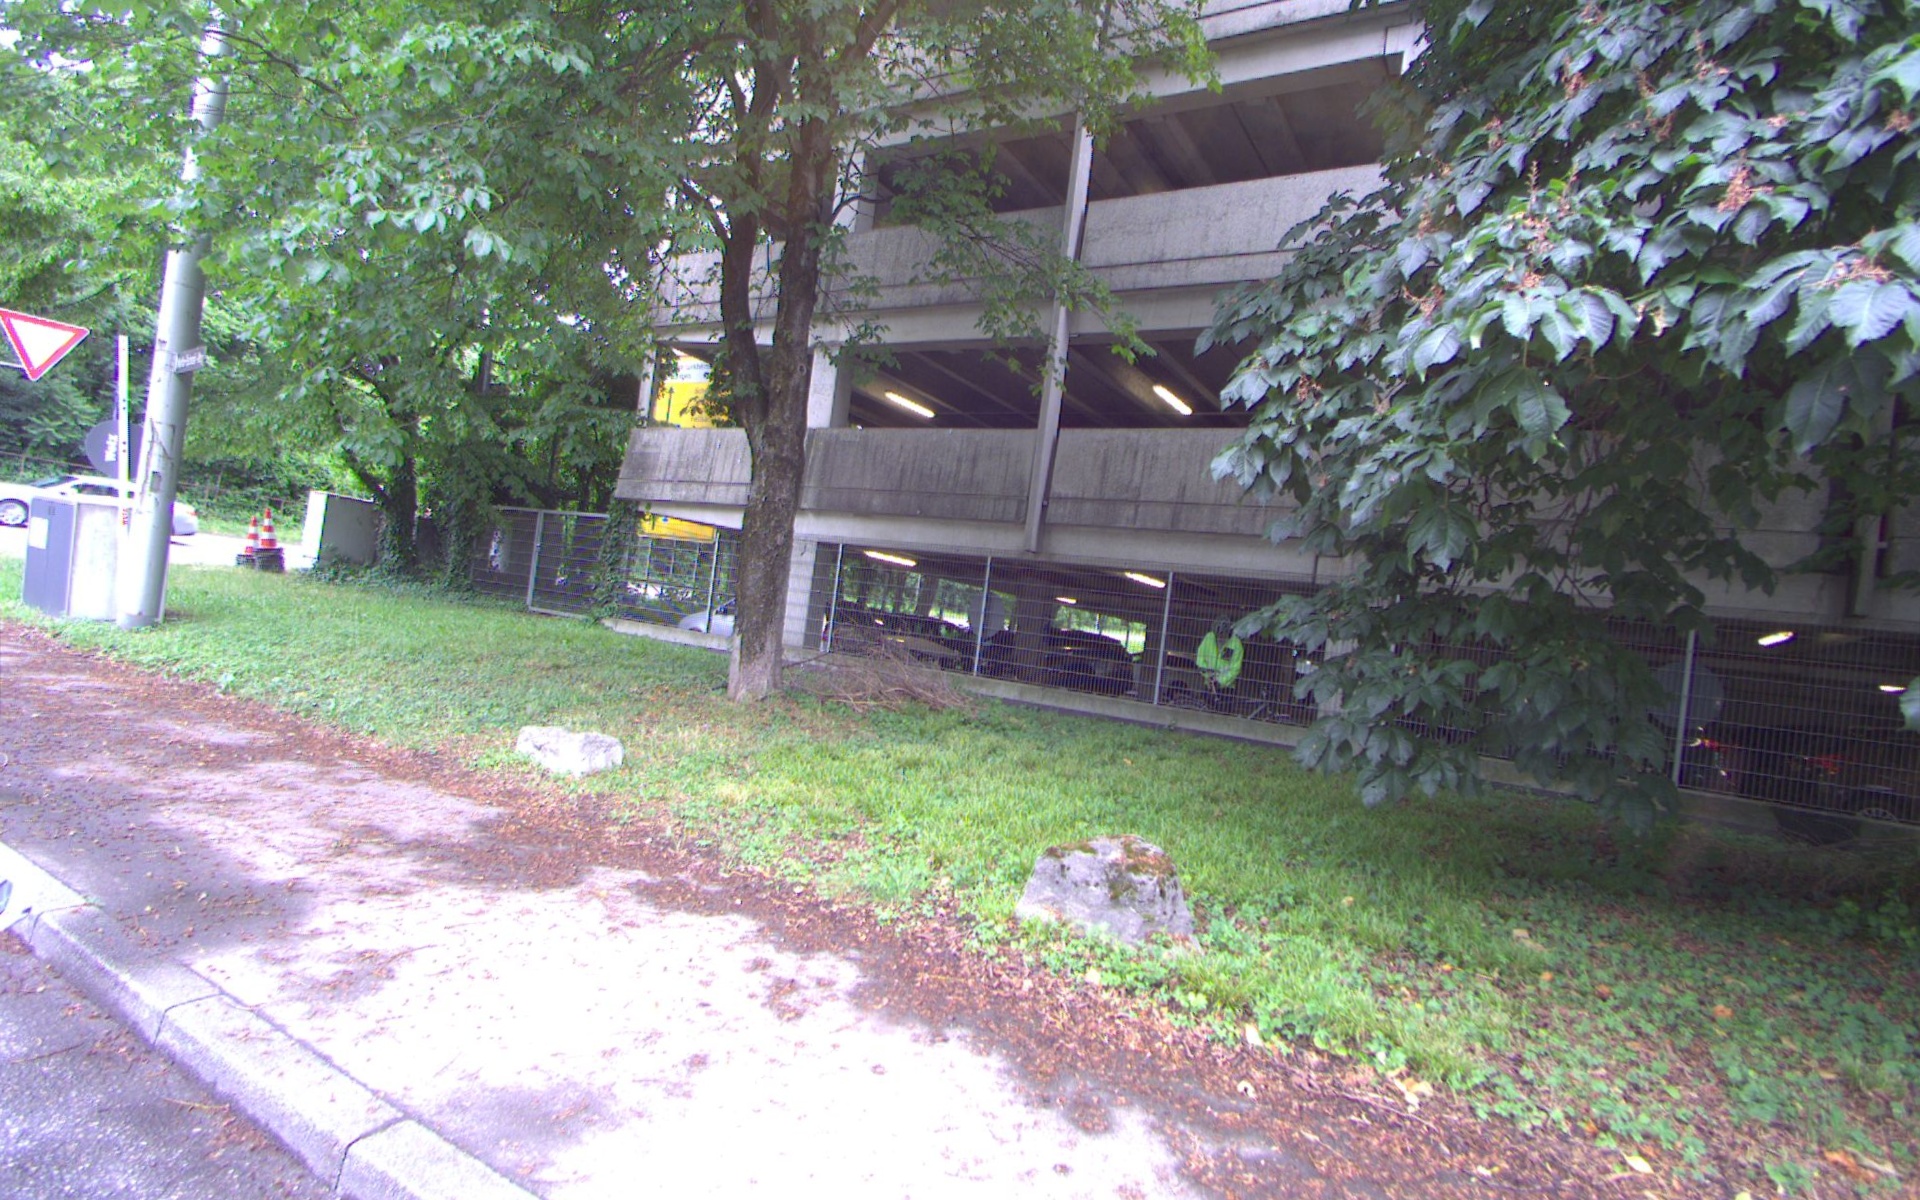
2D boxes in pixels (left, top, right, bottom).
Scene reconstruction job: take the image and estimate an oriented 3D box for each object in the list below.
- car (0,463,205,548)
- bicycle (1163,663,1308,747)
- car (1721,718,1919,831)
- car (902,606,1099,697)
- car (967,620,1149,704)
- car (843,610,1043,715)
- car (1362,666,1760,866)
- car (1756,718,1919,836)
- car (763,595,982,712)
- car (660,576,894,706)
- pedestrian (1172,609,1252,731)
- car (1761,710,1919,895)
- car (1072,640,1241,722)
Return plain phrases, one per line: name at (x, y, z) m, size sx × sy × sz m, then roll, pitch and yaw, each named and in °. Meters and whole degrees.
car at (-22.031, -2.403, 25.046) m, size 1.802 × 1.349 × 4.762 m, roll 10°, pitch -1°, yaw 31°
bicycle at (3.116, 1.174, 11.383) m, size 1.469 × 0.744 × 0.448 m, roll 6°, pitch -3°, yaw 24°
car at (16.597, 3.254, 18.655) m, size 3.640 × 1.625 × 1.721 m, roll 5°, pitch -3°, yaw 30°
car at (0.921, 1.188, 23.221) m, size 3.934 × 1.569 × 1.998 m, roll 5°, pitch -3°, yaw 32°
car at (2.437, 1.539, 25.159) m, size 3.934 × 1.569 × 1.998 m, roll 5°, pitch -3°, yaw 32°
car at (-0.376, 1.290, 20.884) m, size 3.658 × 1.682 × 1.734 m, roll 5°, pitch -3°, yaw 32°
car at (8.617, 2.300, 14.840) m, size 4.597 × 2.036 × 1.998 m, roll 5°, pitch -3°, yaw 31°
car at (15.607, 3.002, 16.520) m, size 3.640 × 1.625 × 1.721 m, roll 5°, pitch -3°, yaw 30°
car at (-1.670, 0.982, 18.828) m, size 3.707 × 1.727 × 1.584 m, roll 5°, pitch -3°, yaw 32°
car at (-3.116, 0.666, 16.902) m, size 3.658 × 1.727 × 1.484 m, roll 5°, pitch -3°, yaw 32°
pedestrian at (2.946, 0.820, 11.740) m, size 0.626 × 1.332 × 0.642 m, roll 5°, pitch -3°, yaw 31°
car at (12.667, 2.665, 12.472) m, size 3.935 × 2.036 × 1.998 m, roll 5°, pitch -3°, yaw 33°
car at (6.135, 2.532, 31.557) m, size 4.658 × 1.855 × 1.923 m, roll 6°, pitch -3°, yaw 33°
